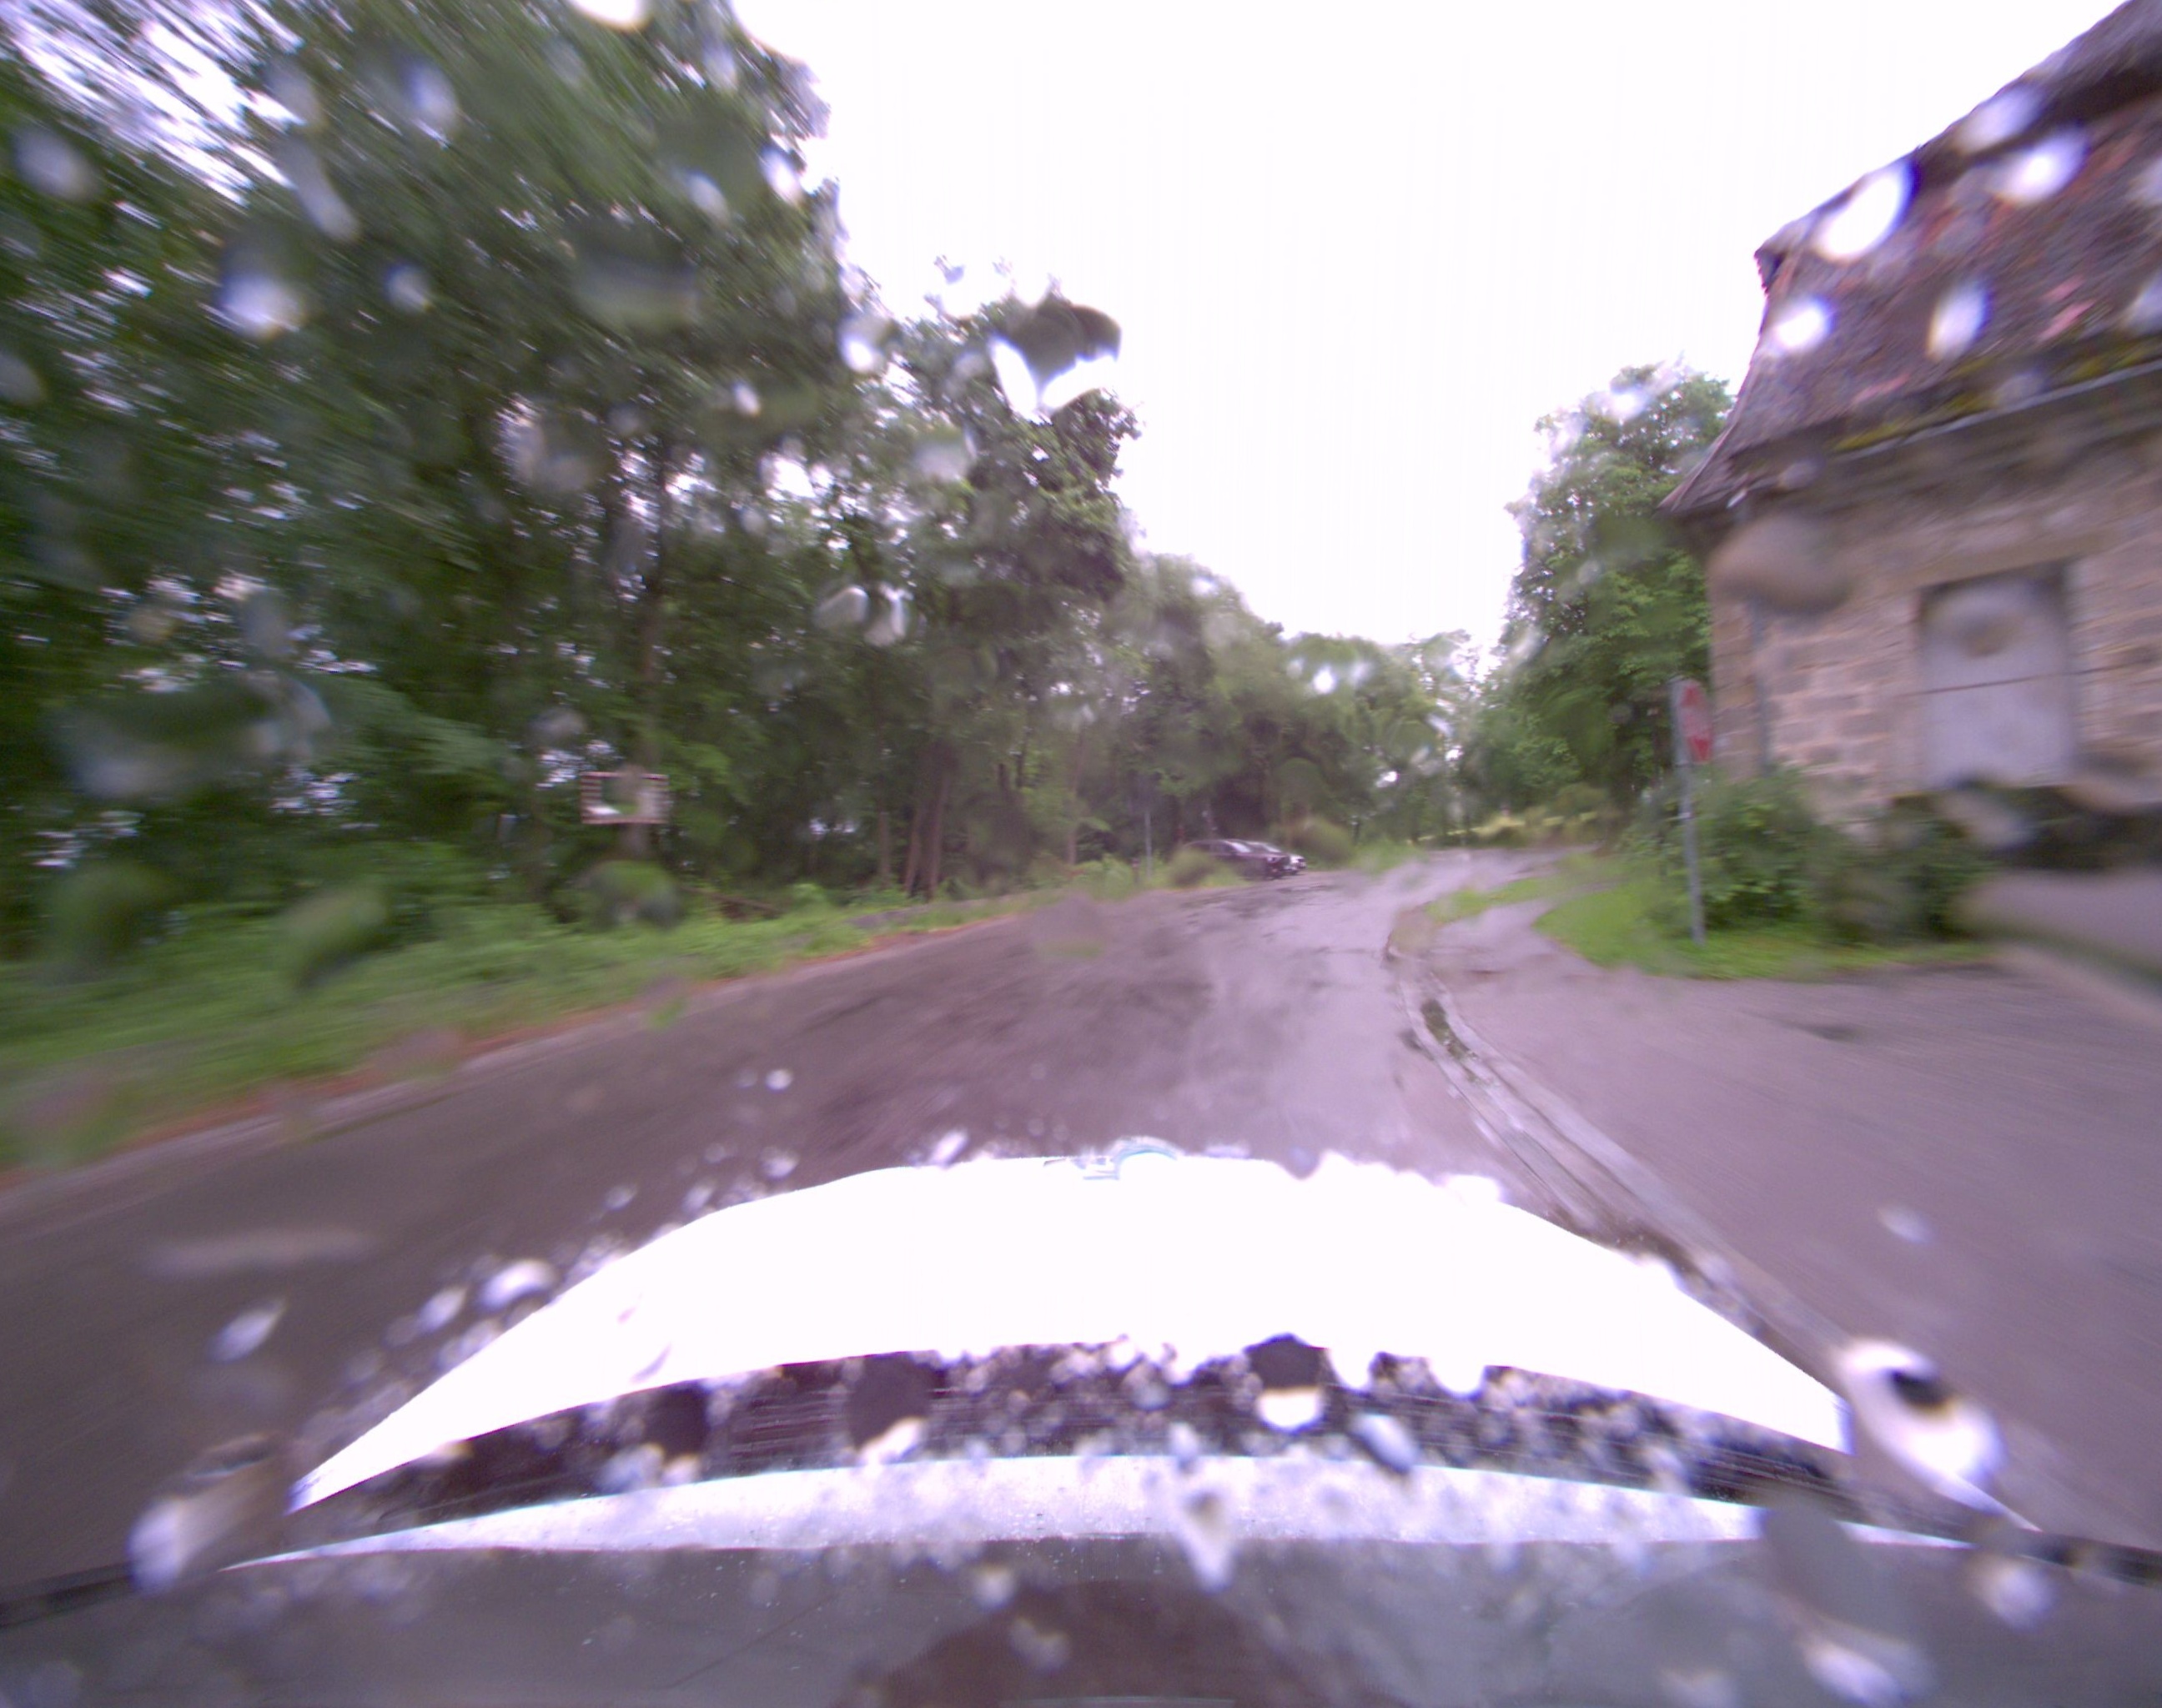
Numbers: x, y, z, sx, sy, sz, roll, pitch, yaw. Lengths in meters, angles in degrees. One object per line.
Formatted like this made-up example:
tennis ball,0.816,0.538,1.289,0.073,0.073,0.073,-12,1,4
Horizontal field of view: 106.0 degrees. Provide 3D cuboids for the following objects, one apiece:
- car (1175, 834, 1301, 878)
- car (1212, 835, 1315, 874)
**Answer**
car,6.527,0.110,34.141,4.778,1.677,1.888,-2,1,39
car,8.225,0.041,36.881,4.096,1.554,1.785,-2,1,41
